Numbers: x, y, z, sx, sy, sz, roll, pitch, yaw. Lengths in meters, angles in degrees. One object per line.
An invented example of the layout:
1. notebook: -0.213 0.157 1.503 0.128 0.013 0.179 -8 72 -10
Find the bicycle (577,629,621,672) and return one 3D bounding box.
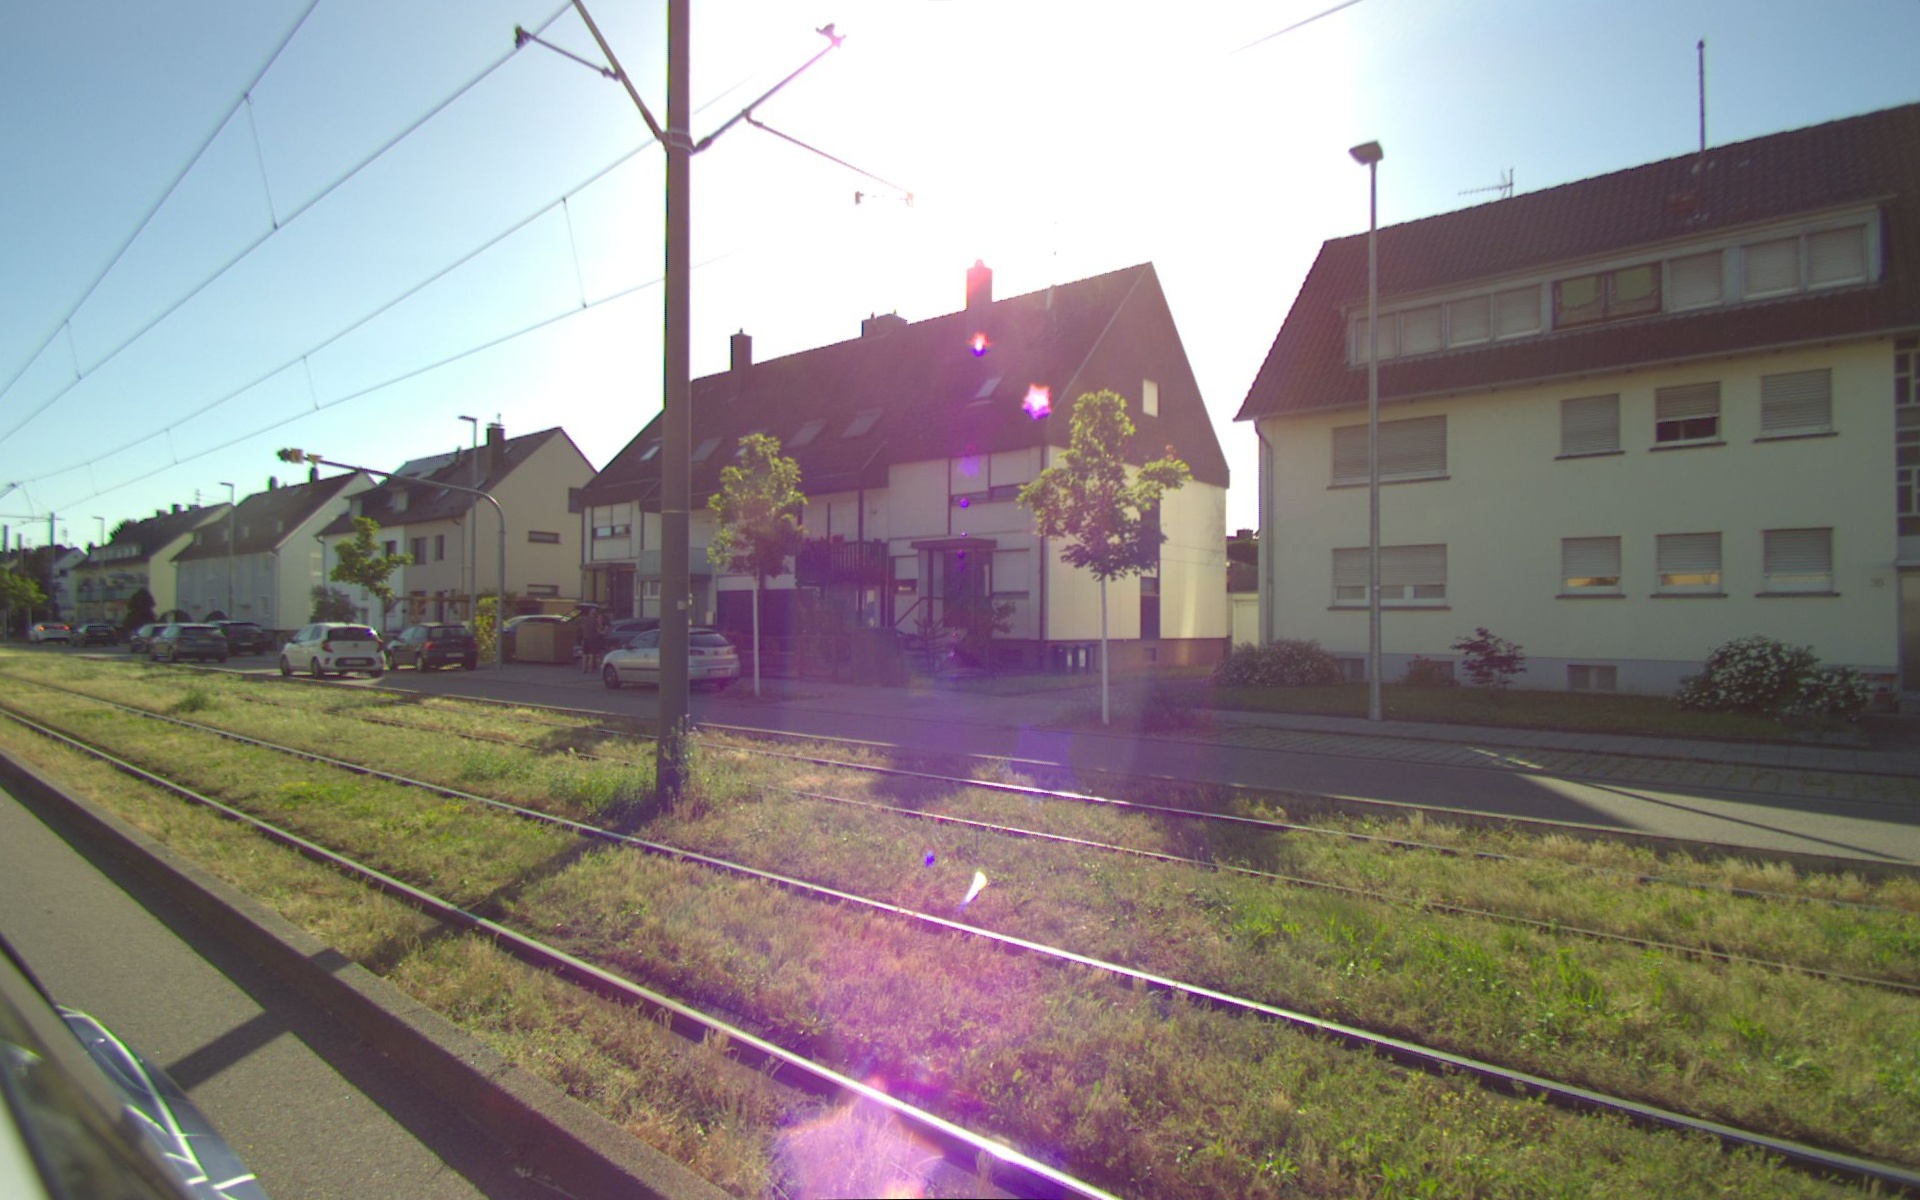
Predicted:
1. bicycle: -10.407 1.430 29.135 0.471 1.172 1.873 -1 0 -44

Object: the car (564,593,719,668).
1. car: -10.107 0.899 32.411 1.786 2.096 4.415 -1 2 41

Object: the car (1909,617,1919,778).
1. car: 10.594 0.898 8.057 4.311 1.484 1.671 -1 0 40

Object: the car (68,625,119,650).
1. car: -52.505 2.231 61.316 4.089 1.408 1.683 -1 0 40

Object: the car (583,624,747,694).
1. car: -6.847 1.288 23.314 4.100 1.447 1.641 -1 -1 40

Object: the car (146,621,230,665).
1. car: -29.041 1.577 38.029 4.080 1.486 1.671 -1 0 40

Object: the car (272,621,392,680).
1. car: -17.213 1.344 27.684 3.676 1.487 1.671 -1 -3 40

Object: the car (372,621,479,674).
1. car: -16.654 1.431 31.460 4.083 1.523 1.602 -1 -1 42

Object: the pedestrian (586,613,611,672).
1. pedestrian: -10.740 1.247 30.080 0.544 1.701 0.625 -1 0 -34

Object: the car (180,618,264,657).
1. car: -33.027 1.639 45.229 4.854 1.572 1.902 -1 0 39

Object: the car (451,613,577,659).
1. car: -18.394 1.467 41.885 1.968 1.797 4.348 -2 -2 40

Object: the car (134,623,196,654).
1. car: -40.831 1.946 51.954 4.397 1.466 1.637 -1 0 40

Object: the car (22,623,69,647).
1. car: -61.799 2.341 68.396 4.089 1.542 1.809 -1 0 40

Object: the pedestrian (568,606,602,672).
1. pedestrian: -10.676 1.100 28.796 0.676 1.829 0.610 -1 0 32
